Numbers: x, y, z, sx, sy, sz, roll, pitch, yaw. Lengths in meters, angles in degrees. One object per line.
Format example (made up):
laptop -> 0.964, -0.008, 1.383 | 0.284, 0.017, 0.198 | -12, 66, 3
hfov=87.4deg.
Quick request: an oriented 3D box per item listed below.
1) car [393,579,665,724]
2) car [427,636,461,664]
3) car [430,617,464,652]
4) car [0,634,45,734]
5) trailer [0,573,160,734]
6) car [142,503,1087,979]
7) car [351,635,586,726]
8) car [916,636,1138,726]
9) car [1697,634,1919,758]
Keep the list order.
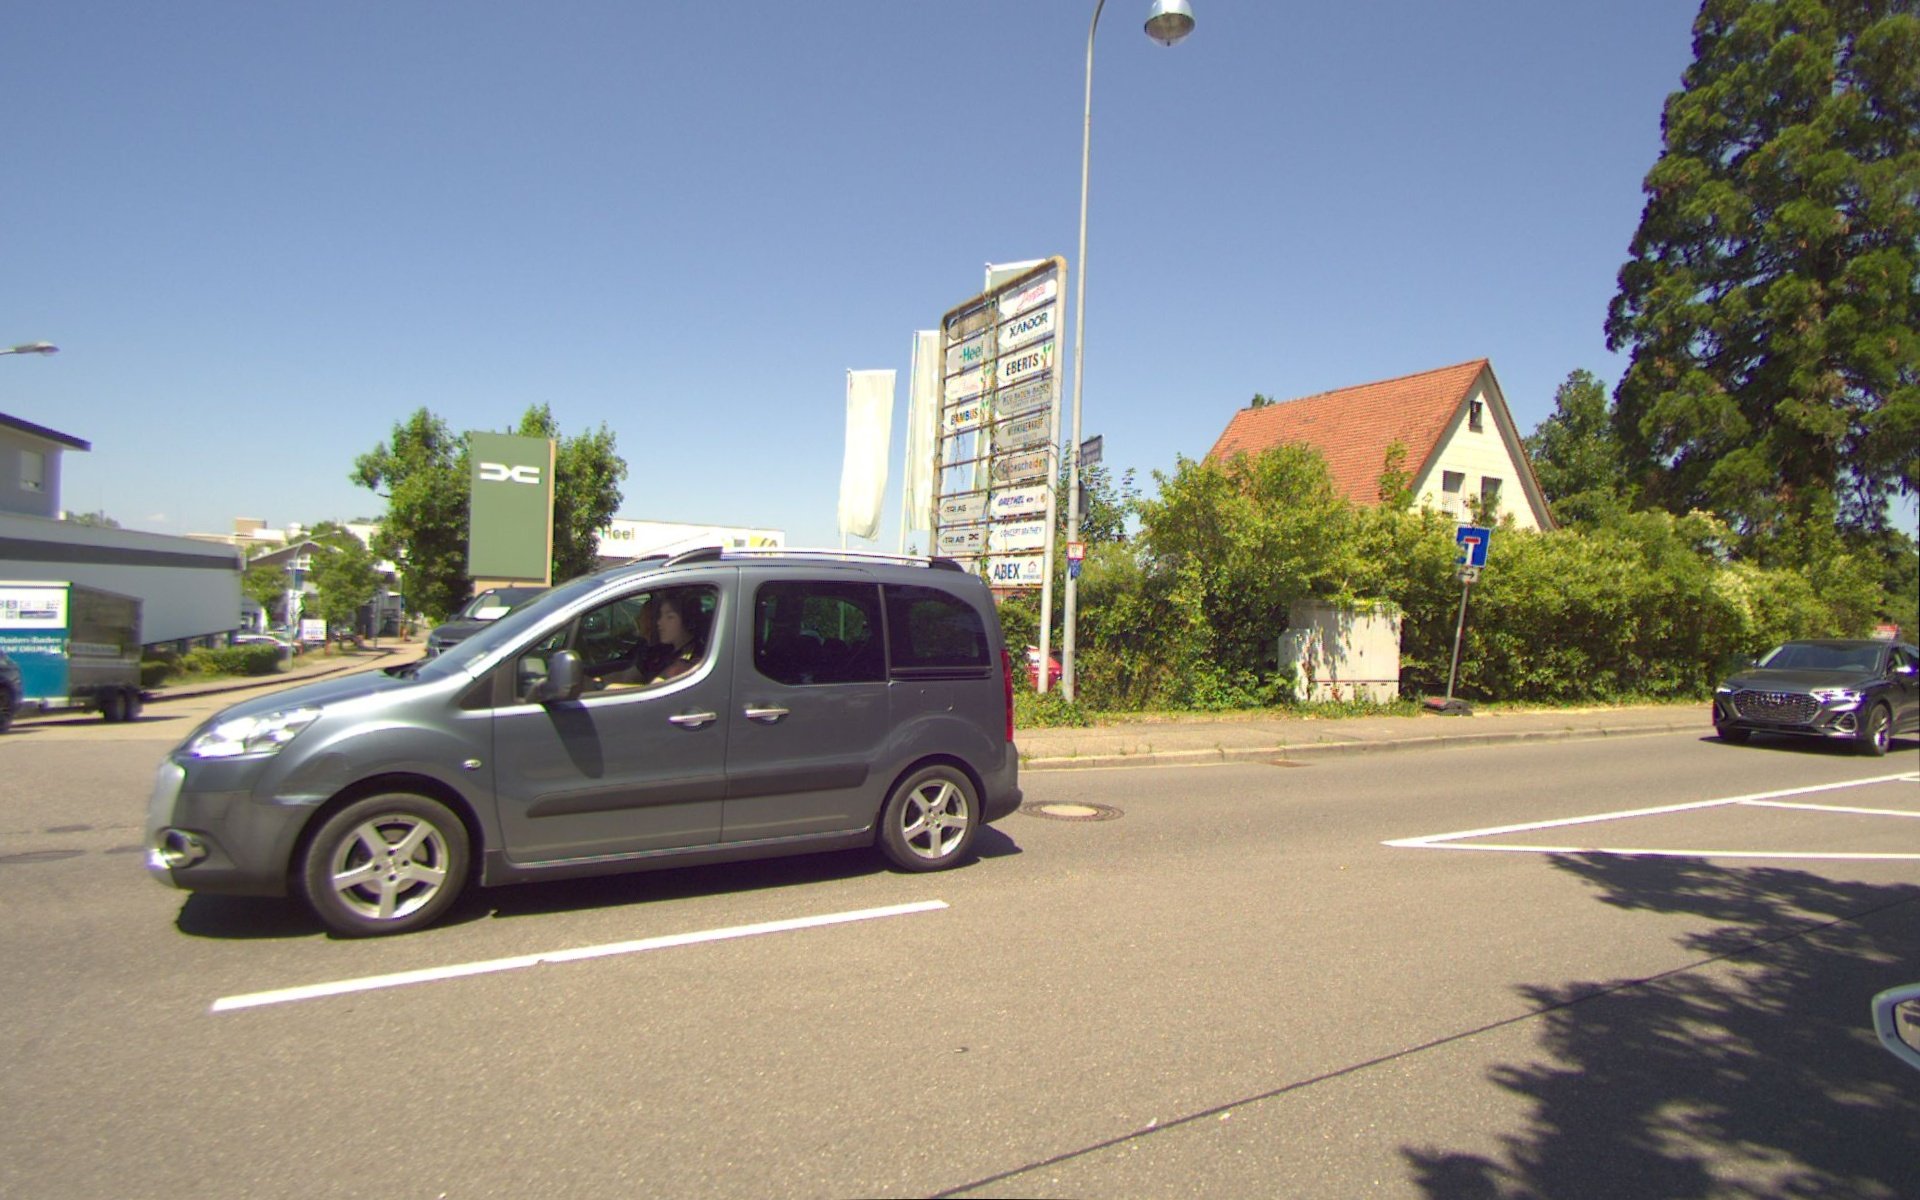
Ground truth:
car -> -6.135, 0.695, 15.003 | 2.022, 1.750, 4.458 | -2, -1, 1
car -> -42.484, 4.089, 82.784 | 2.054, 2.083, 3.978 | 2, -1, -23
car -> -47.511, 3.138, 93.198 | 2.212, 3.029, 6.311 | 2, -1, -23
car -> -13.839, 1.094, 12.712 | 1.892, 1.405, 4.941 | 2, -4, -25
trailer -> -15.965, 0.959, 17.458 | 1.914, 2.436, 5.336 | 2, -4, -25
car -> -1.606, 0.603, 5.757 | 4.520, 1.785, 1.801 | 2, -1, -32
car -> -10.088, 1.693, 20.954 | 4.019, 1.744, 1.810 | 2, -4, -13
car -> 1.327, 1.497, 19.187 | 4.012, 1.411, 1.679 | 2, 0, 9
car -> 13.032, 1.350, 14.937 | 4.265, 1.557, 1.785 | 2, -1, -30
